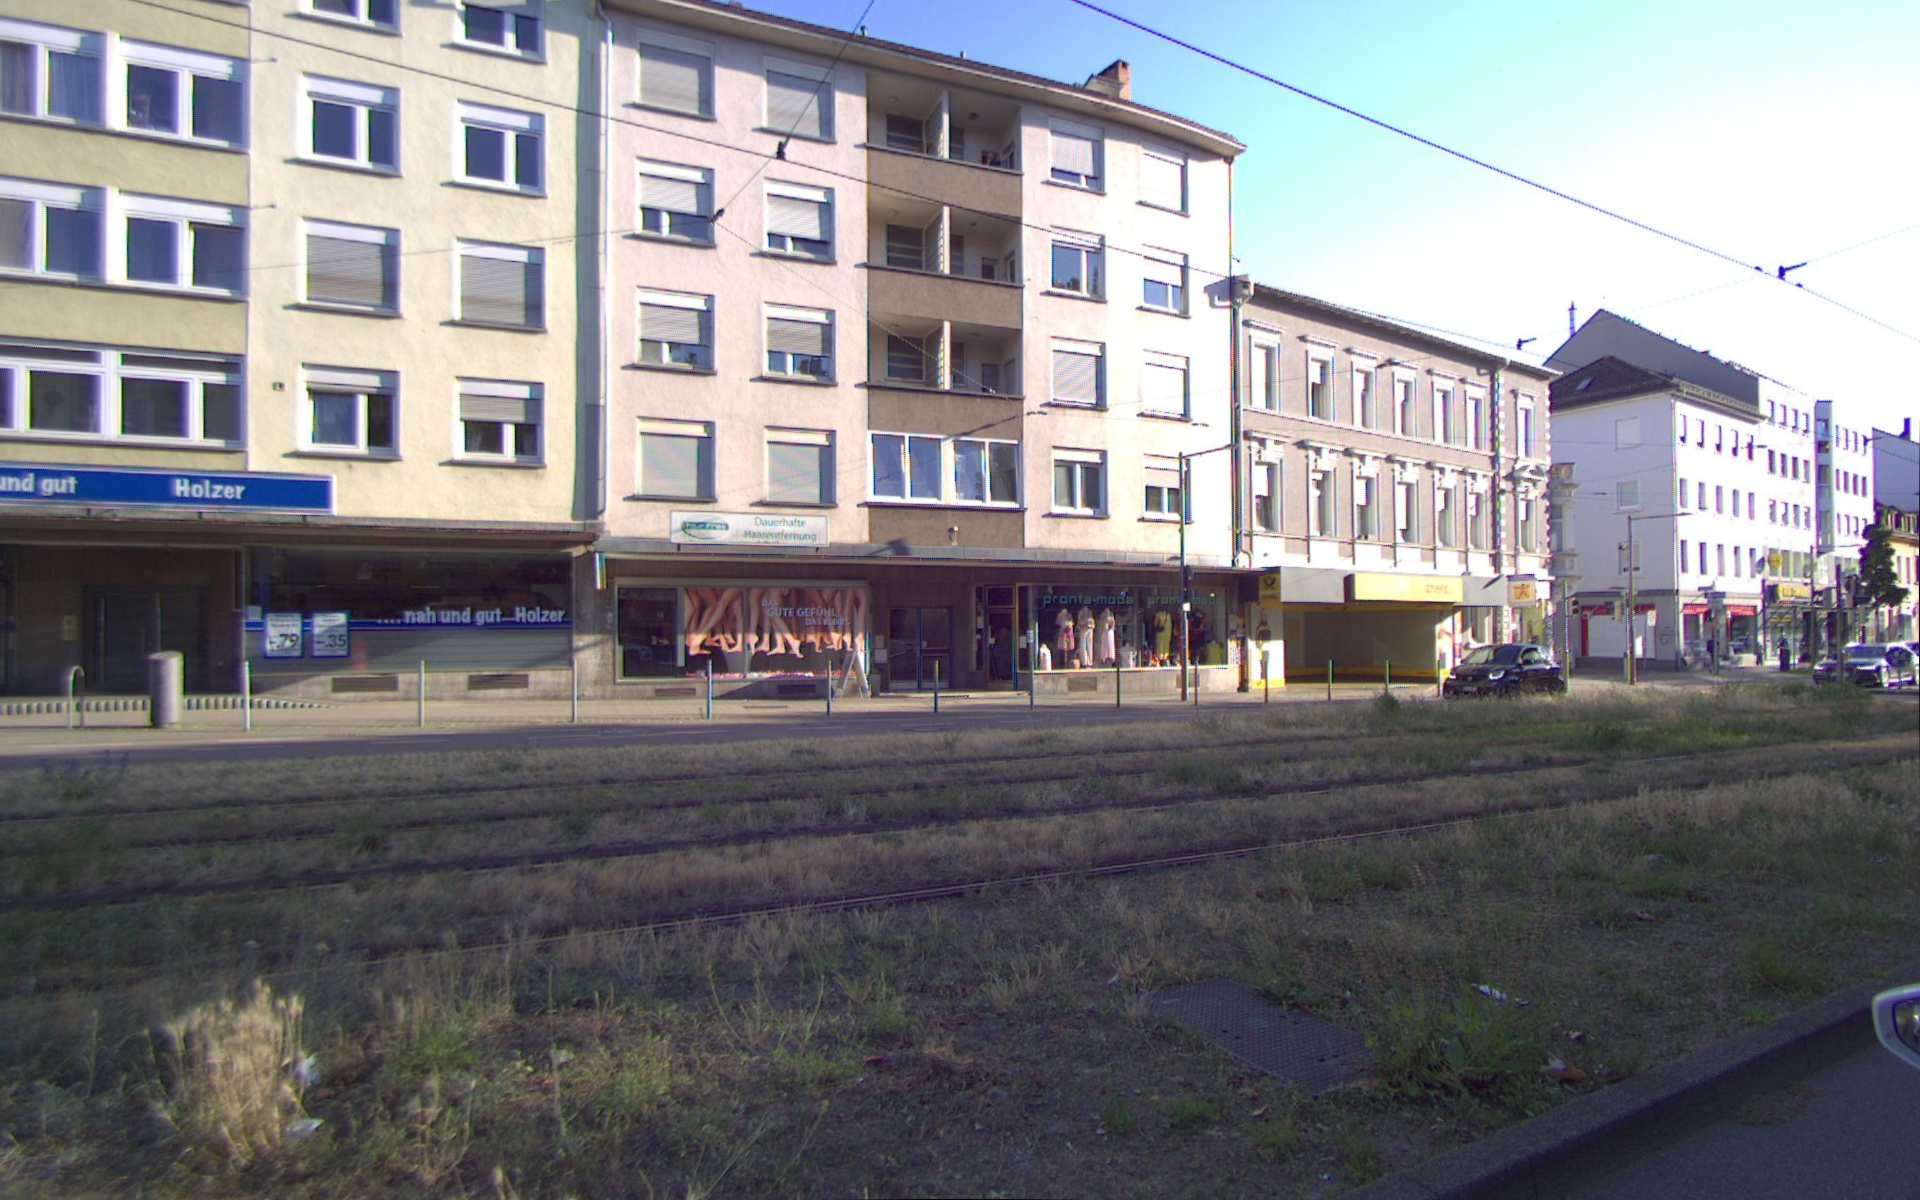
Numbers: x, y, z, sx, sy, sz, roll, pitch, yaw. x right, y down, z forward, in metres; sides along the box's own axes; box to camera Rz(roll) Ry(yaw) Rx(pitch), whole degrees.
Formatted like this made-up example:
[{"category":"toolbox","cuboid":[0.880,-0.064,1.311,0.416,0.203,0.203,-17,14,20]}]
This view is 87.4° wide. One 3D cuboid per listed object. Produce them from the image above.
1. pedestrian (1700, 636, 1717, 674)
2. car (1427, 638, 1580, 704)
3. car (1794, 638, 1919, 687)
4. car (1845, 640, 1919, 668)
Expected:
[{"category":"pedestrian","cuboid":[34.954,2.556,46.907,0.501,1.736,0.424,1,-2,-26]},{"category":"car","cuboid":[13.350,1.728,24.659,3.434,1.528,1.716,2,-4,-29]},{"category":"car","cuboid":[31.395,2.157,35.096,4.718,1.579,1.984,2,-2,-30]},{"category":"car","cuboid":[50.443,2.883,53.535,4.465,1.431,1.999,0,-2,24]}]
